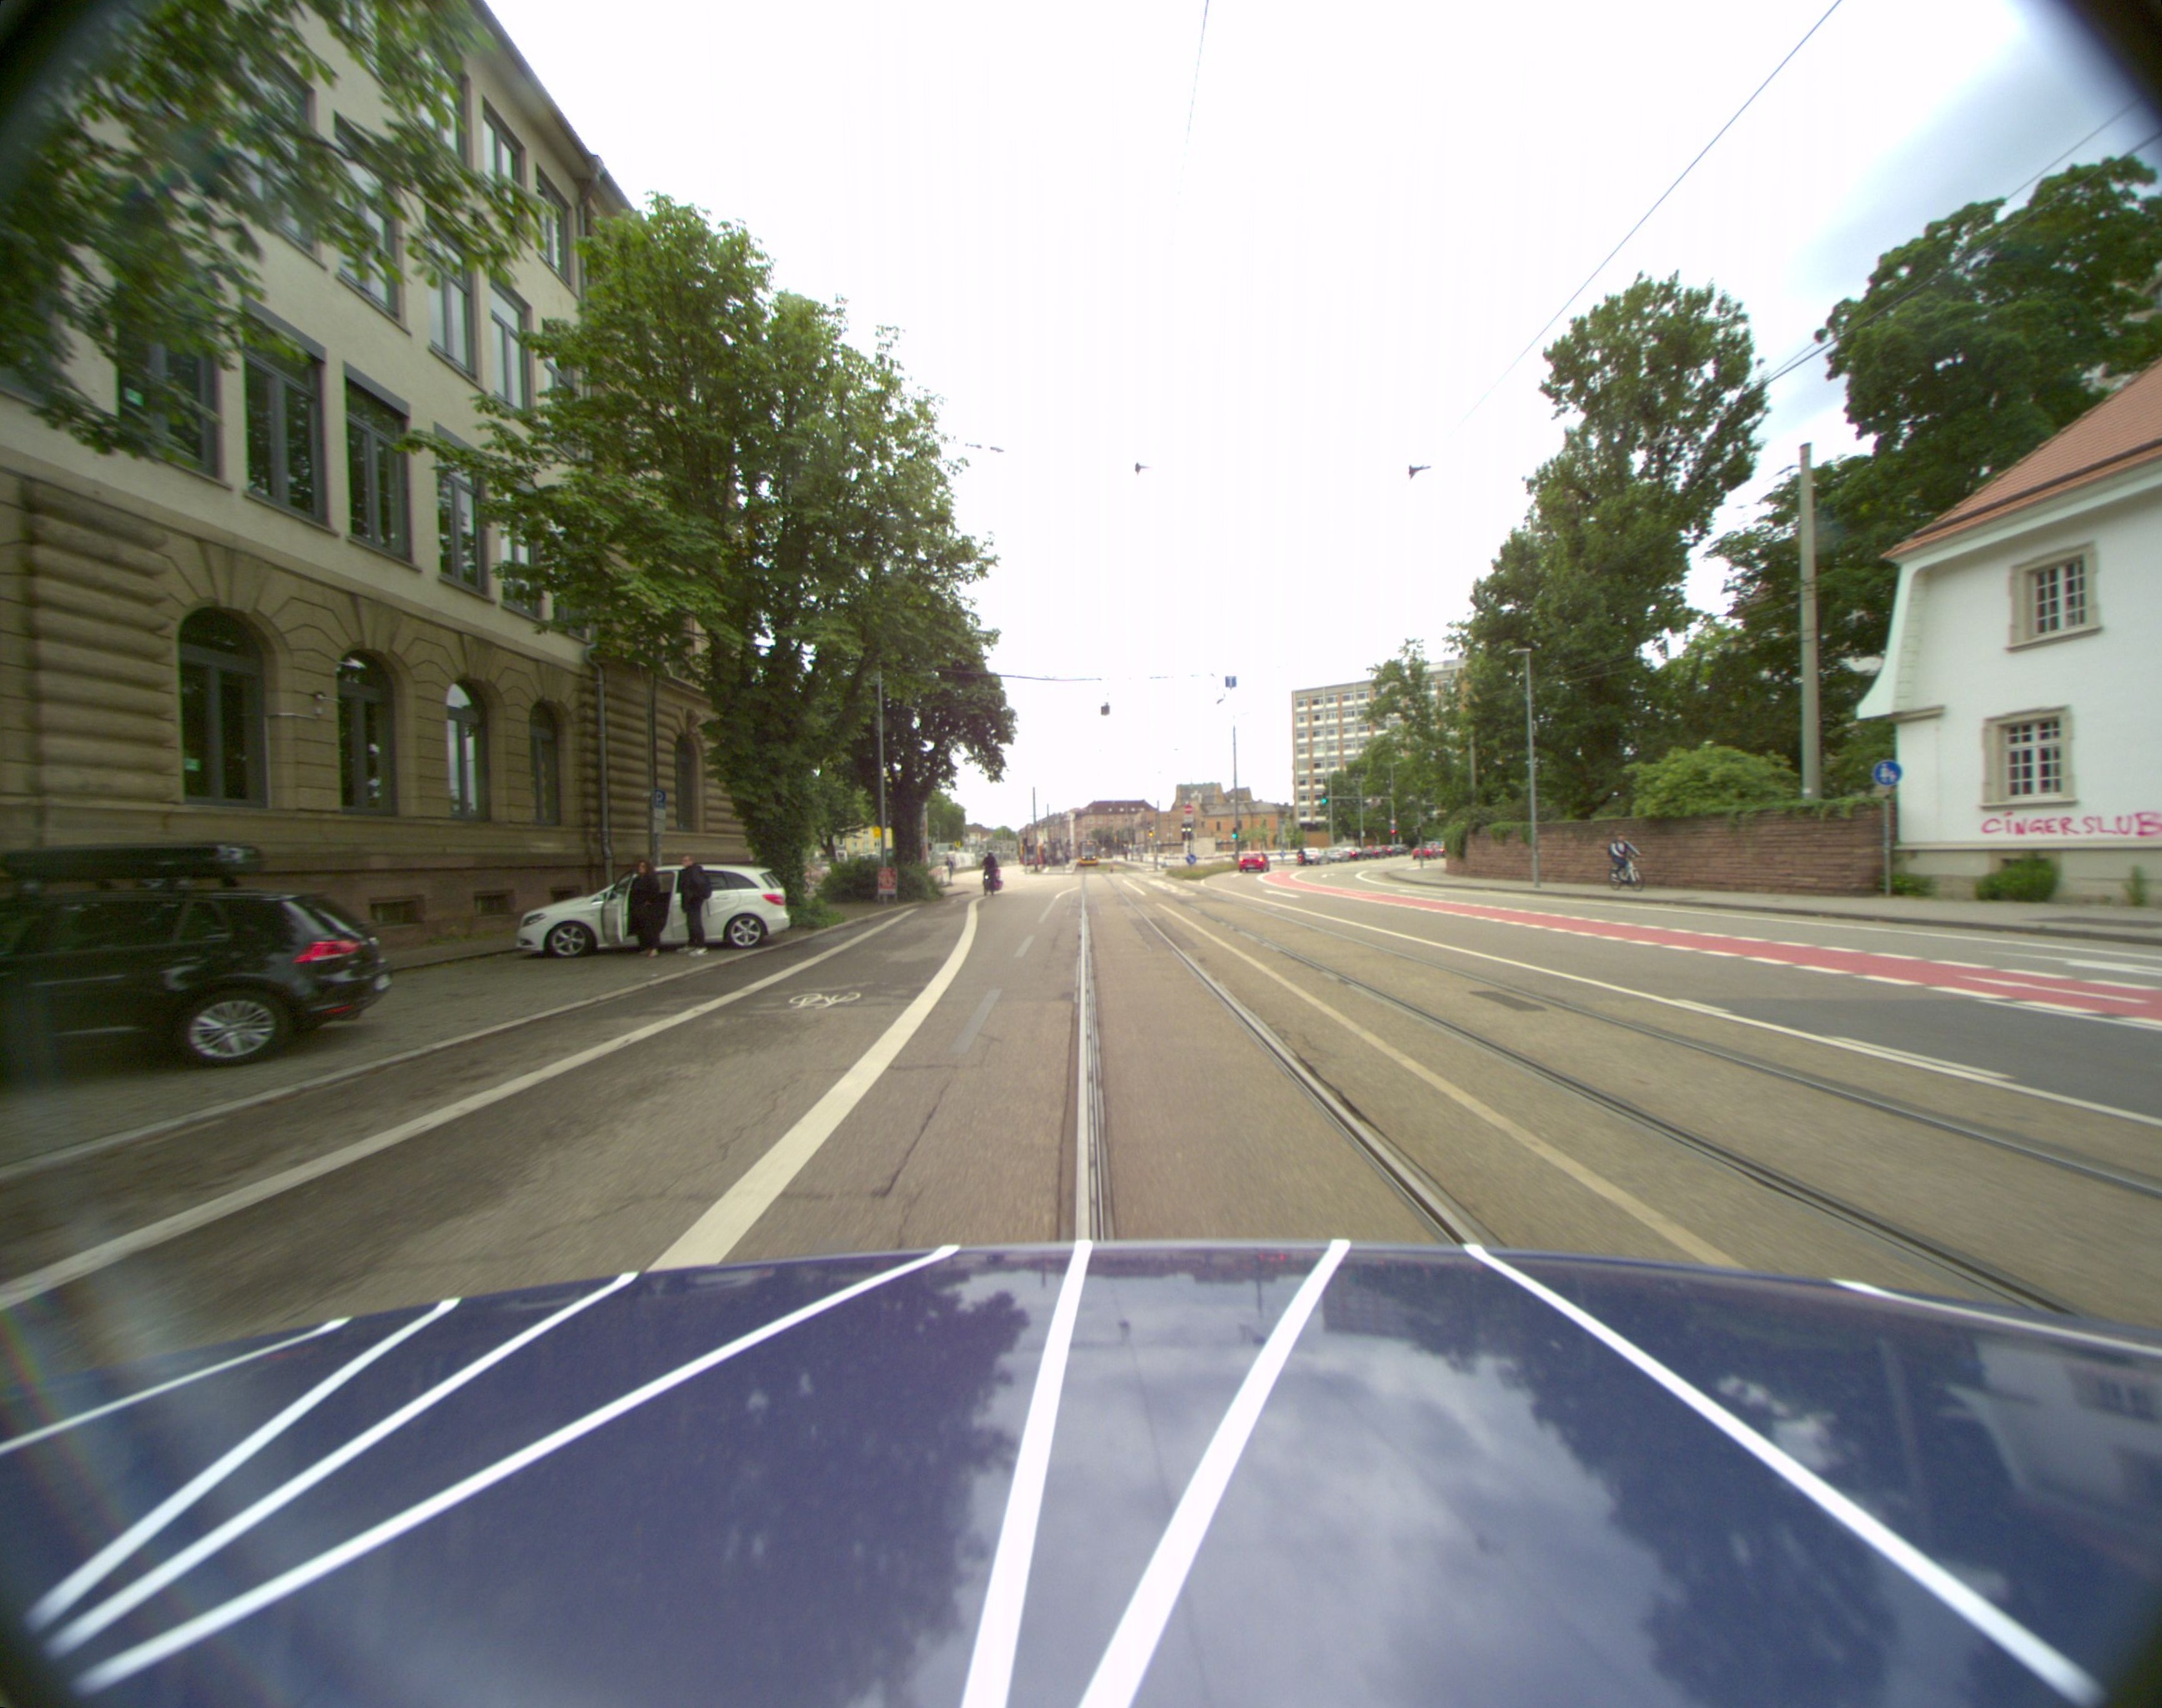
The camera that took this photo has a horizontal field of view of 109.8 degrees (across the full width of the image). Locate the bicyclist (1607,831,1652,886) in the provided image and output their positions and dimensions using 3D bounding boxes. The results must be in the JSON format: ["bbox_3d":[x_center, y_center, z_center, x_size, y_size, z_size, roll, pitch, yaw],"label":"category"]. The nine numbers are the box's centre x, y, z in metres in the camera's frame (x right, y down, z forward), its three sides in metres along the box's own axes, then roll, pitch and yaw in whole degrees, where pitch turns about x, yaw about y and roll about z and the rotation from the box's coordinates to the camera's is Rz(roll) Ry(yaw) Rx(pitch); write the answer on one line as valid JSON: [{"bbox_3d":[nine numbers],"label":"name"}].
[{"bbox_3d":[17.241,0.136,23.903,0.776,1.681,0.869,-2,1,1],"label":"bicyclist"}]

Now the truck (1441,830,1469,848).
[{"bbox_3d":[66.794,-2.657,135.642,3.485,2.962,7.627,-1,1,33],"label":"truck"}]

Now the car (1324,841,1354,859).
[{"bbox_3d":[25.186,-0.431,74.121,1.682,1.641,3.988,-1,1,35],"label":"car"}]

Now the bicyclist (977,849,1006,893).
[{"bbox_3d":[-3.830,0.725,32.692,0.881,1.811,1.479,-2,-1,7],"label":"bicyclist"}]

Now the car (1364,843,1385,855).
[{"bbox_3d":[32.209,-0.575,83.374,1.420,1.164,3.077,-1,1,37],"label":"car"}]

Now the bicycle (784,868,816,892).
[{"bbox_3d":[-13.734,1.257,37.110,1.341,1.119,0.476,-2,1,3],"label":"bicycle"}]

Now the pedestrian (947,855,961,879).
[{"bbox_3d":[-9.326,0.973,55.659,0.917,1.699,1.157,-2,1,-12],"label":"pedestrian"}]

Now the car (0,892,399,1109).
[{"bbox_3d":[-8.416,1.128,5.933,4.338,1.394,1.750,-2,1,-33],"label":"car"}]

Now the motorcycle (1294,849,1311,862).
[{"bbox_3d":[18.749,0.134,64.182,1.054,1.063,2.652,-2,0,22],"label":"motorcycle"}]

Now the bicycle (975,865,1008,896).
[{"bbox_3d":[-3.830,1.124,32.613,0.852,1.234,2.311,-2,-1,7],"label":"bicycle"}]

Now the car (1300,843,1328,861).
[{"bbox_3d":[20.826,-0.192,67.842,1.491,1.500,3.476,-1,1,33],"label":"car"}]

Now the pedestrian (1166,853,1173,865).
[{"bbox_3d":[8.201,0.489,70.335,0.545,1.050,0.637,-2,1,8],"label":"pedestrian"}]

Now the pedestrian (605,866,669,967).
[{"bbox_3d":[-7.395,1.020,12.670,0.643,1.616,0.592,-2,1,3],"label":"pedestrian"}]

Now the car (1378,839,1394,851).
[{"bbox_3d":[36.025,-1.080,89.730,1.412,1.324,3.316,-1,1,29],"label":"car"}]

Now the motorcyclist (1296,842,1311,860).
[{"bbox_3d":[18.943,-0.229,64.597,1.074,1.477,1.253,-2,1,23],"label":"motorcyclist"}]

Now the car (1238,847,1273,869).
[{"bbox_3d":[12.357,0.240,53.708,1.757,1.490,4.006,0,1,22],"label":"car"}]

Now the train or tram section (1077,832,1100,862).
[{"bbox_3d":[0.993,-0.903,98.810,2.631,3.660,5.984,-2,1,-2],"label":"train or tram section"}]

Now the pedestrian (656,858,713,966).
[{"bbox_3d":[-6.684,0.950,12.837,0.687,1.740,0.613,-2,1,-17],"label":"pedestrian"}]

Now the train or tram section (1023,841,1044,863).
[{"bbox_3d":[-6.625,-0.288,106.169,2.610,2.936,4.965,-2,1,-2],"label":"train or tram section"}]

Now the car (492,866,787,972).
[{"bbox_3d":[-7.689,1.058,13.743,4.330,1.542,1.747,-2,0,-22],"label":"car"}]

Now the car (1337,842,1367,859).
[{"bbox_3d":[28.023,-0.392,78.605,1.782,1.602,4.332,-1,1,35],"label":"car"}]

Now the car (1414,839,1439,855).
[{"bbox_3d":[36.264,-0.730,79.709,1.828,1.573,4.007,-1,1,32],"label":"car"}]

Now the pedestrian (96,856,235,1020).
[{"bbox_3d":[-10.666,0.940,8.882,0.680,1.828,0.751,0,1,0],"label":"pedestrian"}]

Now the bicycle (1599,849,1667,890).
[{"bbox_3d":[17.252,0.472,23.805,0.776,1.205,1.869,-2,0,1],"label":"bicycle"}]

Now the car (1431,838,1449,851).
[{"bbox_3d":[40.616,-1.115,85.951,1.582,1.390,4.007,-2,1,27],"label":"car"}]
